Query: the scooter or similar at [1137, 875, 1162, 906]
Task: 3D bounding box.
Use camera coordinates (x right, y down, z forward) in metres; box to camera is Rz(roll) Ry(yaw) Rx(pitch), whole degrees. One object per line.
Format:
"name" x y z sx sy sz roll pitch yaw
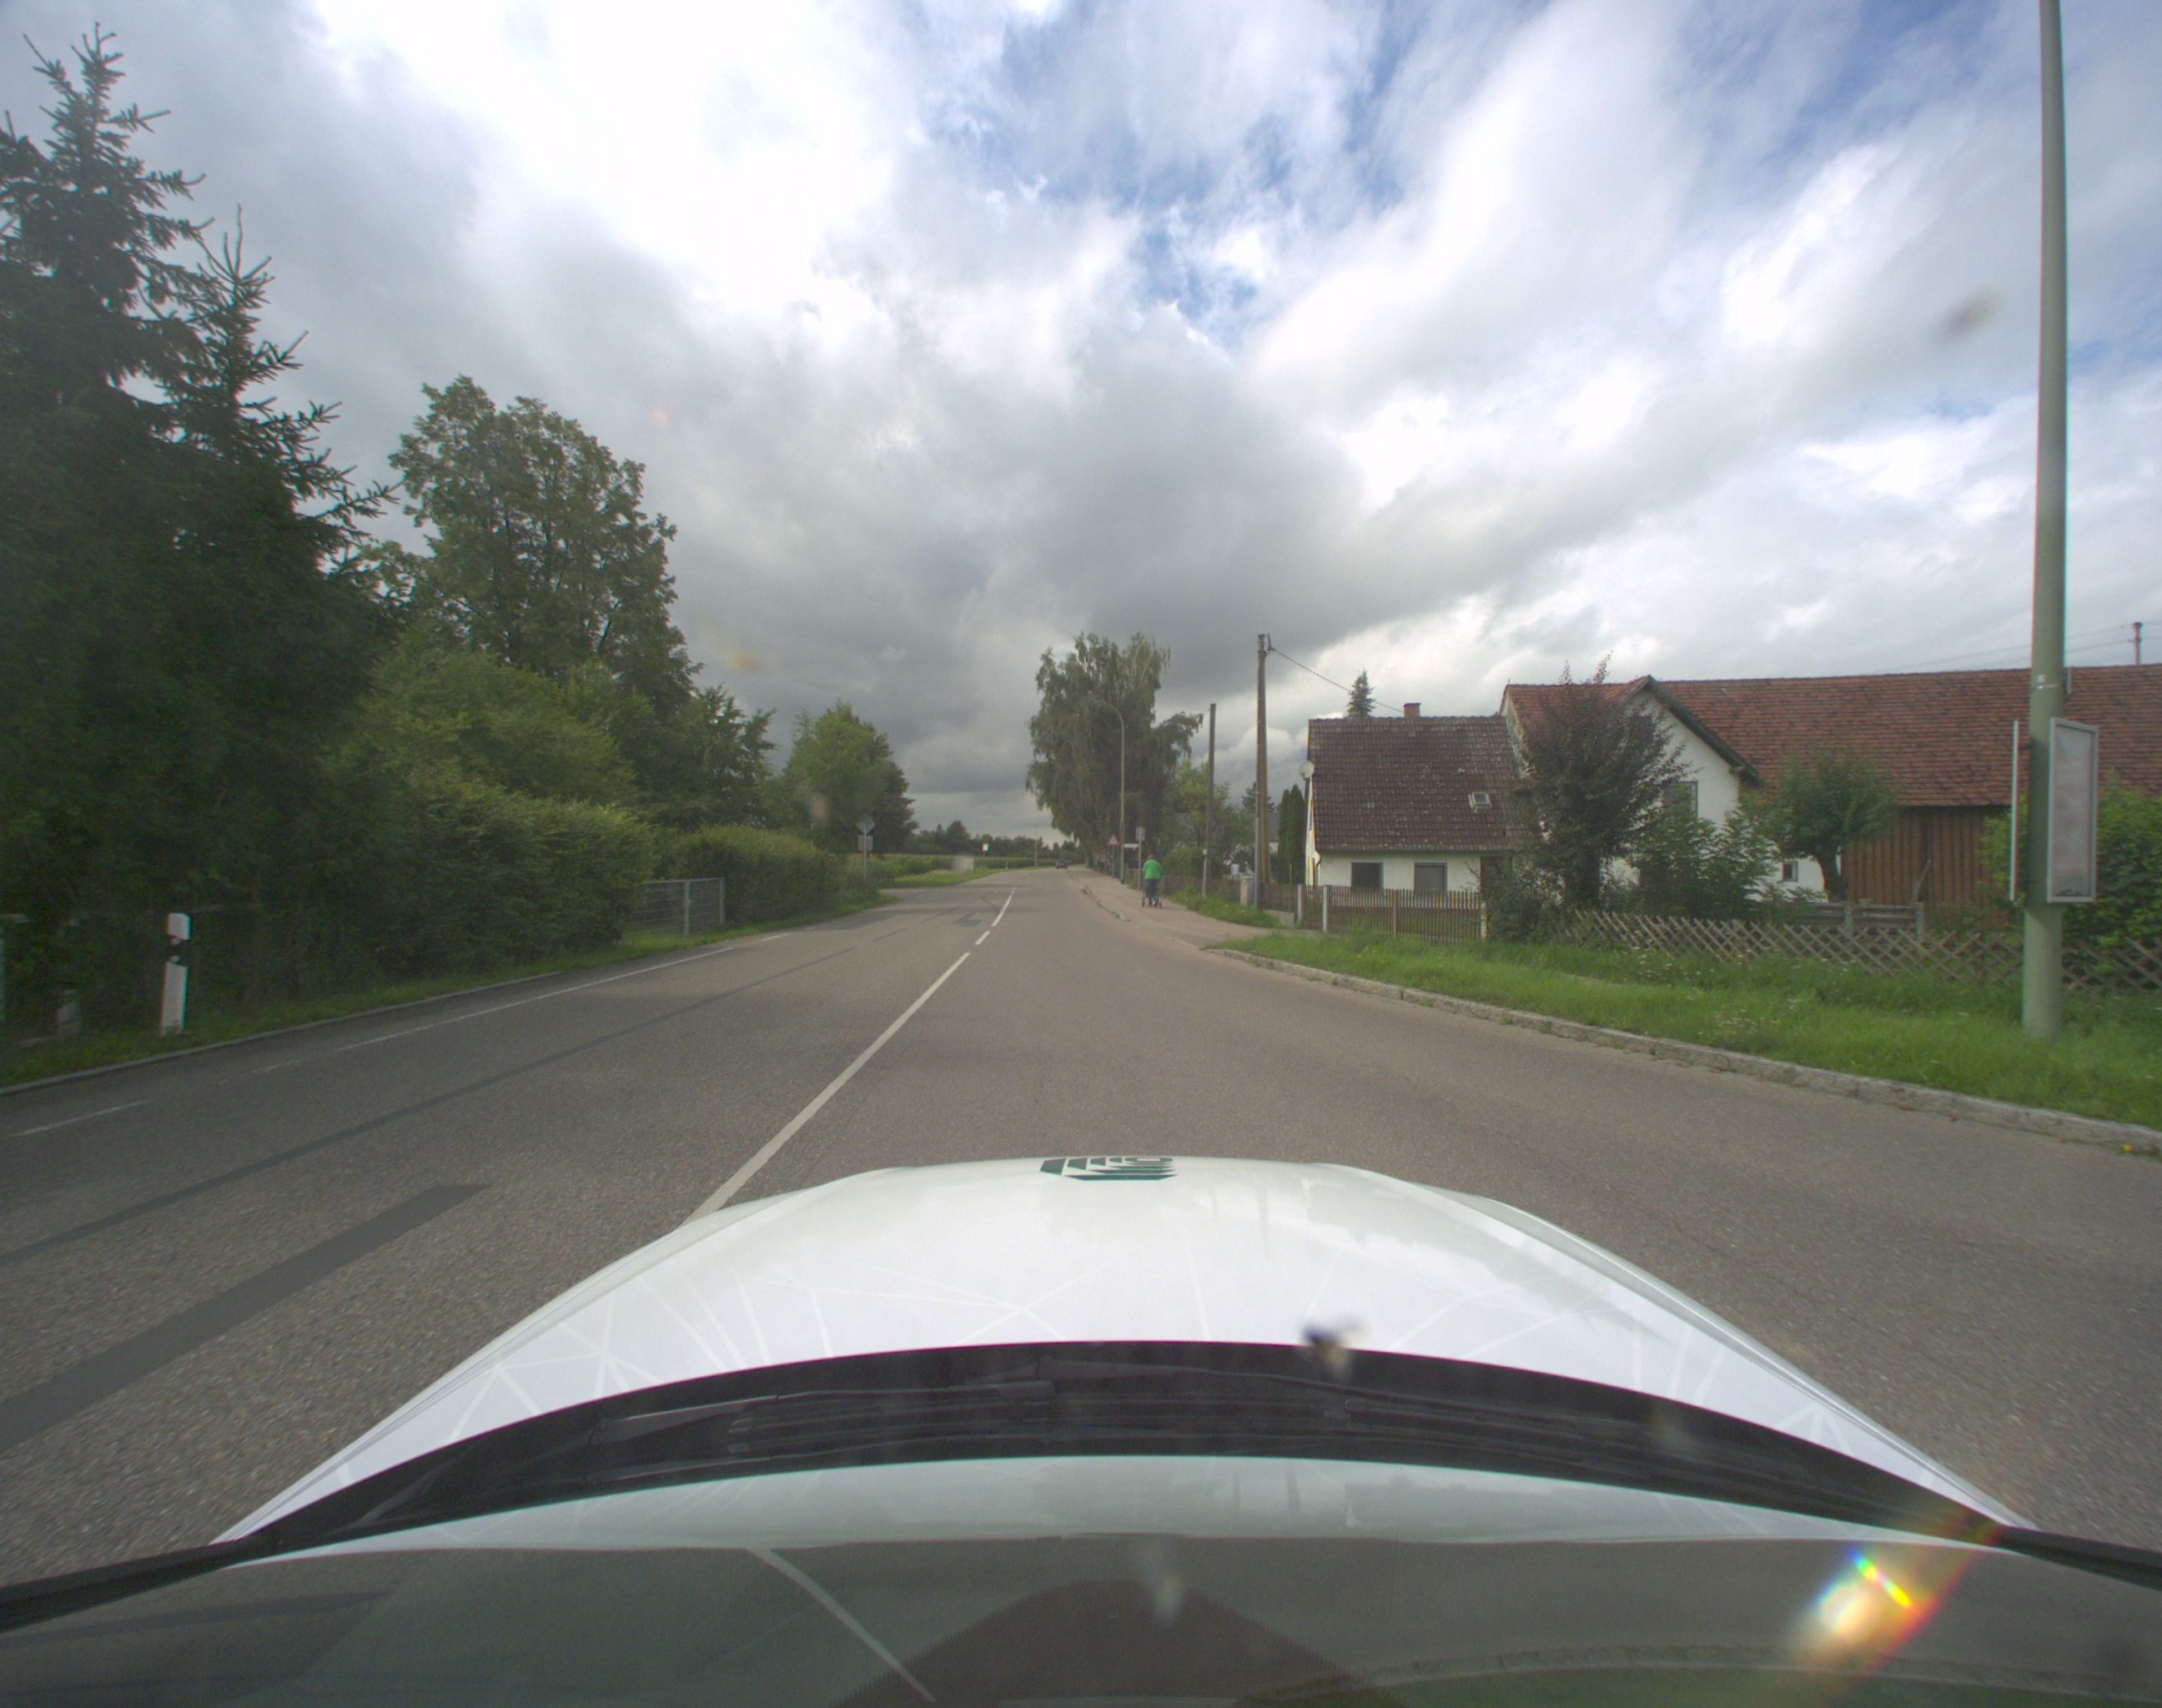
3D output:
"scooter or similar" 2.231 1.186 26.621 0.629 0.948 0.621 5 0 -5

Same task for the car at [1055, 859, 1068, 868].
"car" -3.430 1.703 142.462 1.989 1.552 3.995 1 0 -4

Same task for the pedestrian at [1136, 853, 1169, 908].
"pedestrian" 2.273 0.831 25.949 0.787 1.665 0.711 5 -1 -5
